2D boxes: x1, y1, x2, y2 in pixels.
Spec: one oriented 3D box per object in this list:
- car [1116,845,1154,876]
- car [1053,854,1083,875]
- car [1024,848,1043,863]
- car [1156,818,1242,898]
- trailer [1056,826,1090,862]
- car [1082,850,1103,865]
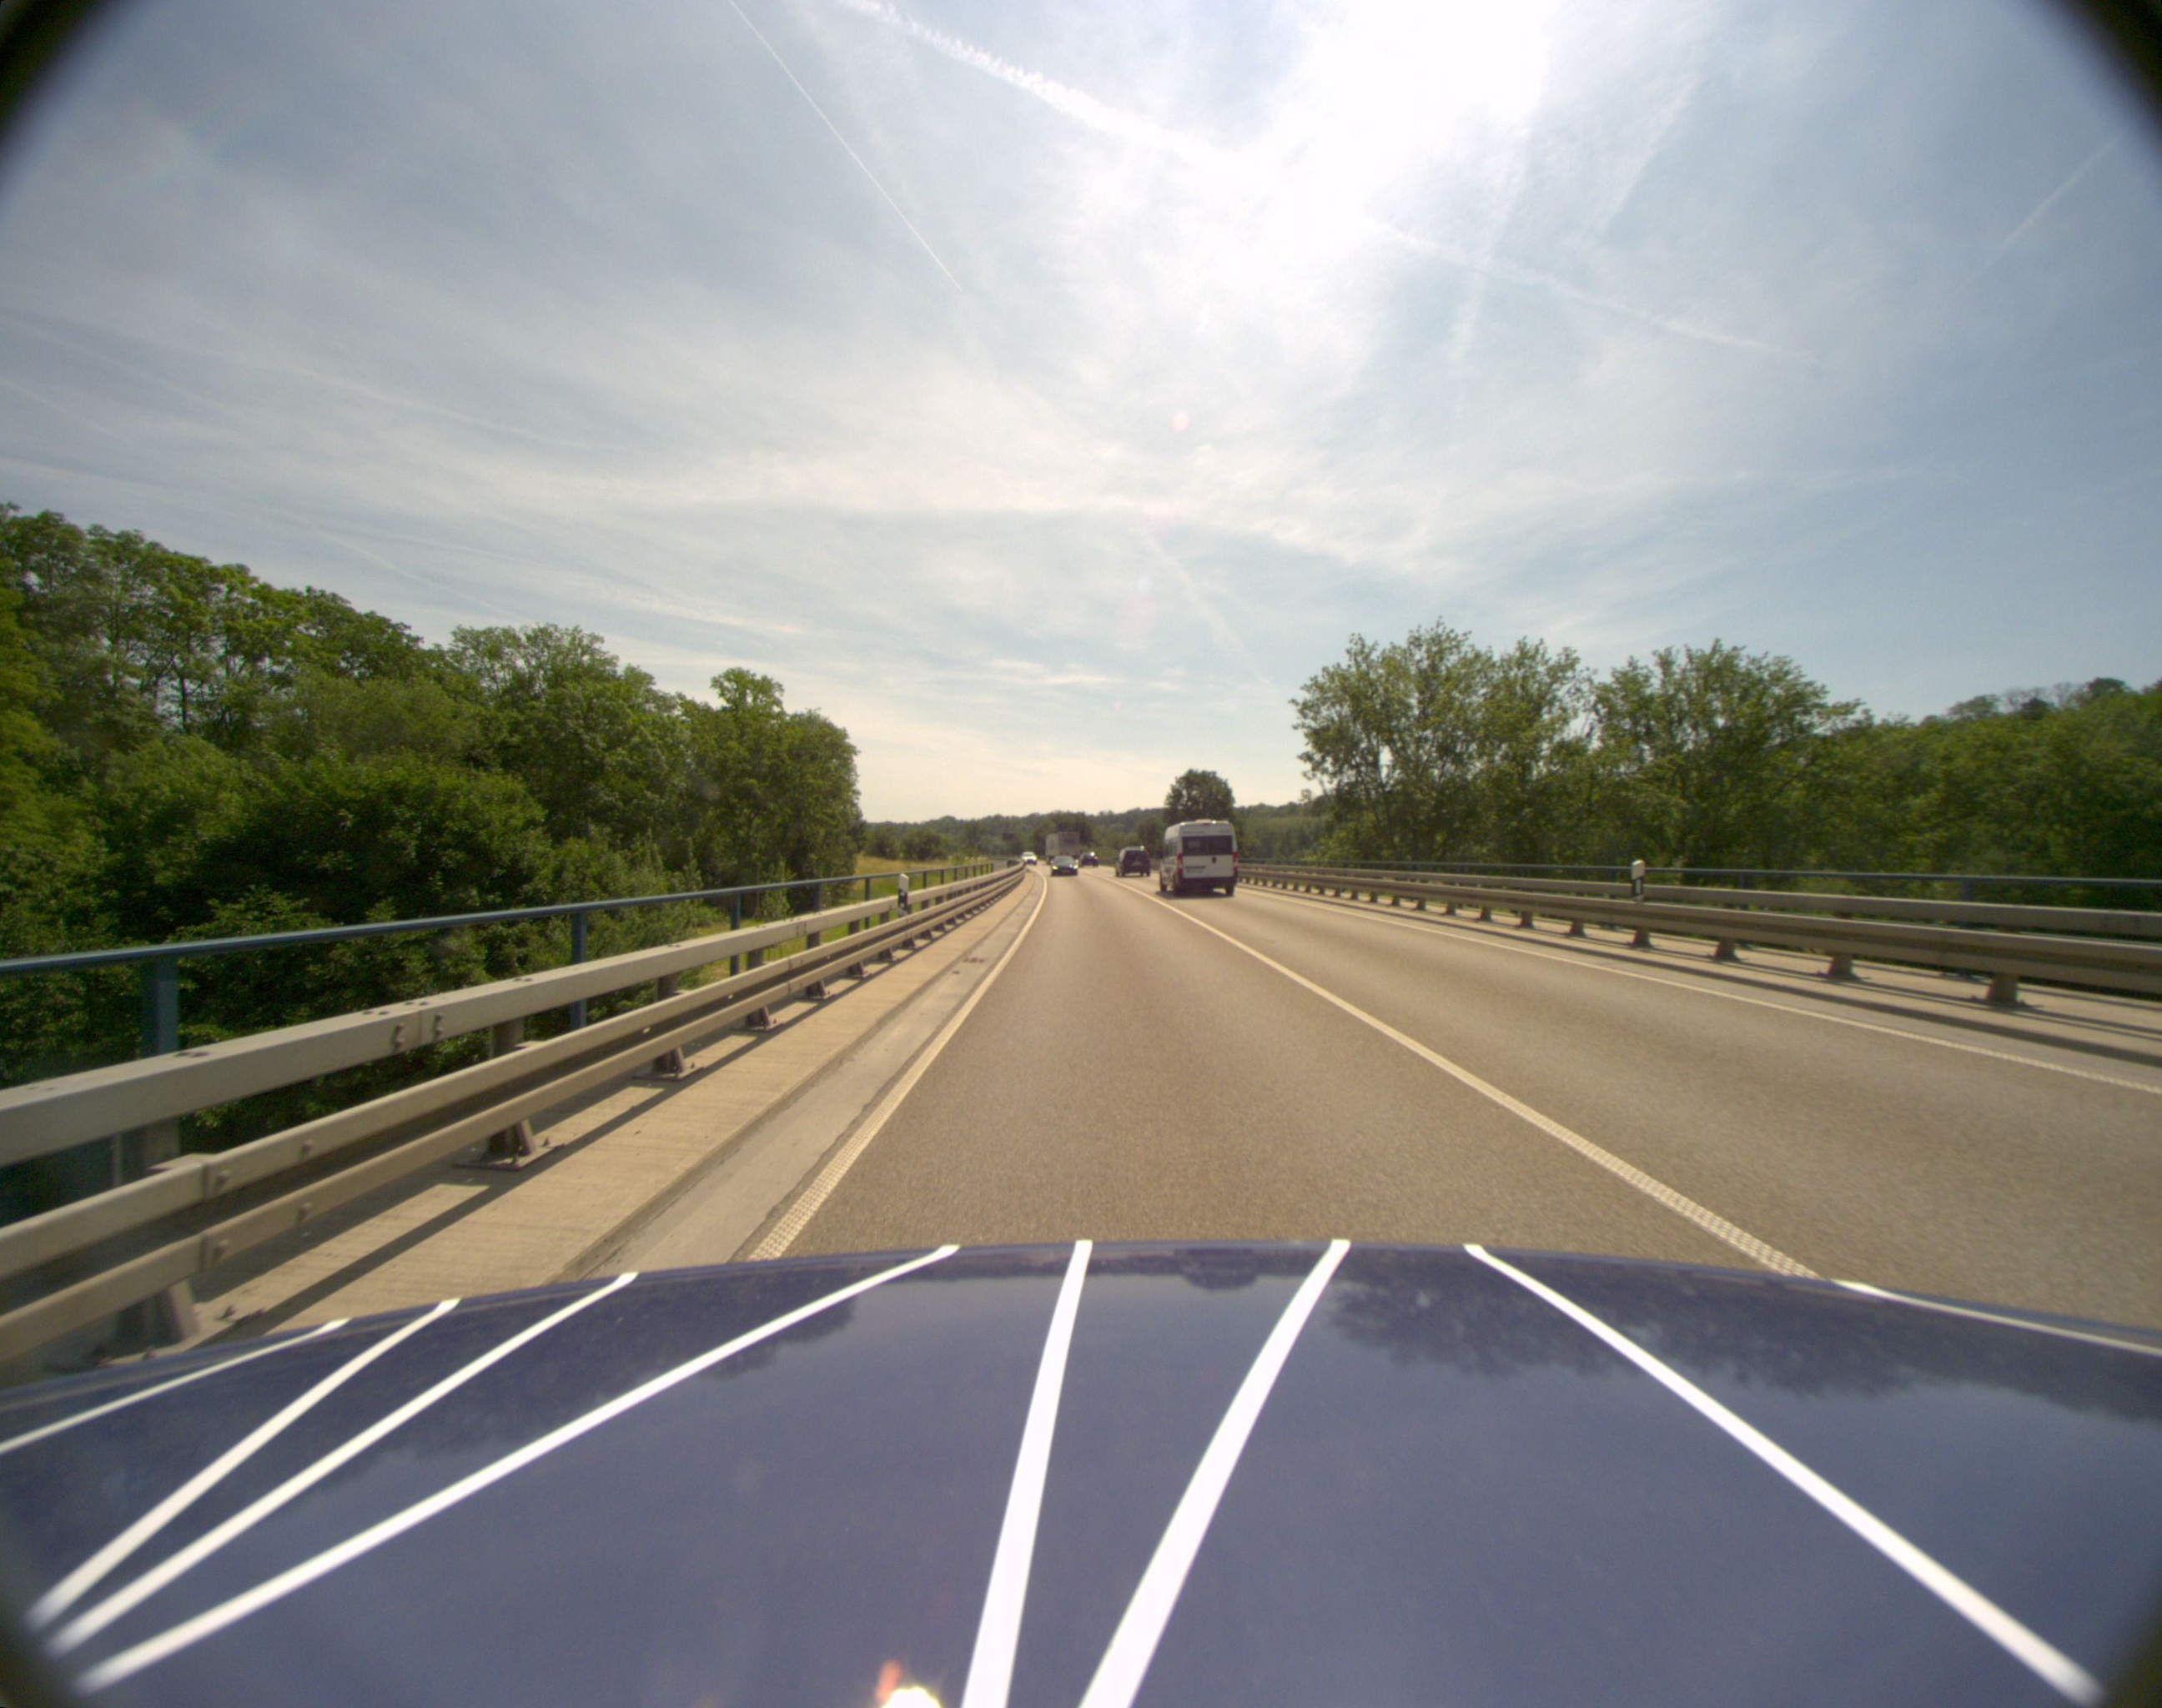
[{"bbox_3d":[3.373,0.396,48.279,1.858,1.788,4.976,-2,0,-2],"label":"car"},{"bbox_3d":[-0.977,0.732,54.282,1.981,1.333,3.999,-2,0,-2],"label":"car"},{"bbox_3d":[-6.203,0.148,98.797,1.982,1.779,3.996,-2,1,-9],"label":"car"},{"bbox_3d":[4.168,0.077,27.903,2.185,2.545,5.795,-2,1,0],"label":"car"},{"bbox_3d":[-1.201,-1.132,95.947,2.862,4.163,14.489,-2,0,-6],"label":"trailer"},{"bbox_3d":[1.176,0.381,77.263,1.666,1.449,3.892,-3,0,-6],"label":"car"}]
